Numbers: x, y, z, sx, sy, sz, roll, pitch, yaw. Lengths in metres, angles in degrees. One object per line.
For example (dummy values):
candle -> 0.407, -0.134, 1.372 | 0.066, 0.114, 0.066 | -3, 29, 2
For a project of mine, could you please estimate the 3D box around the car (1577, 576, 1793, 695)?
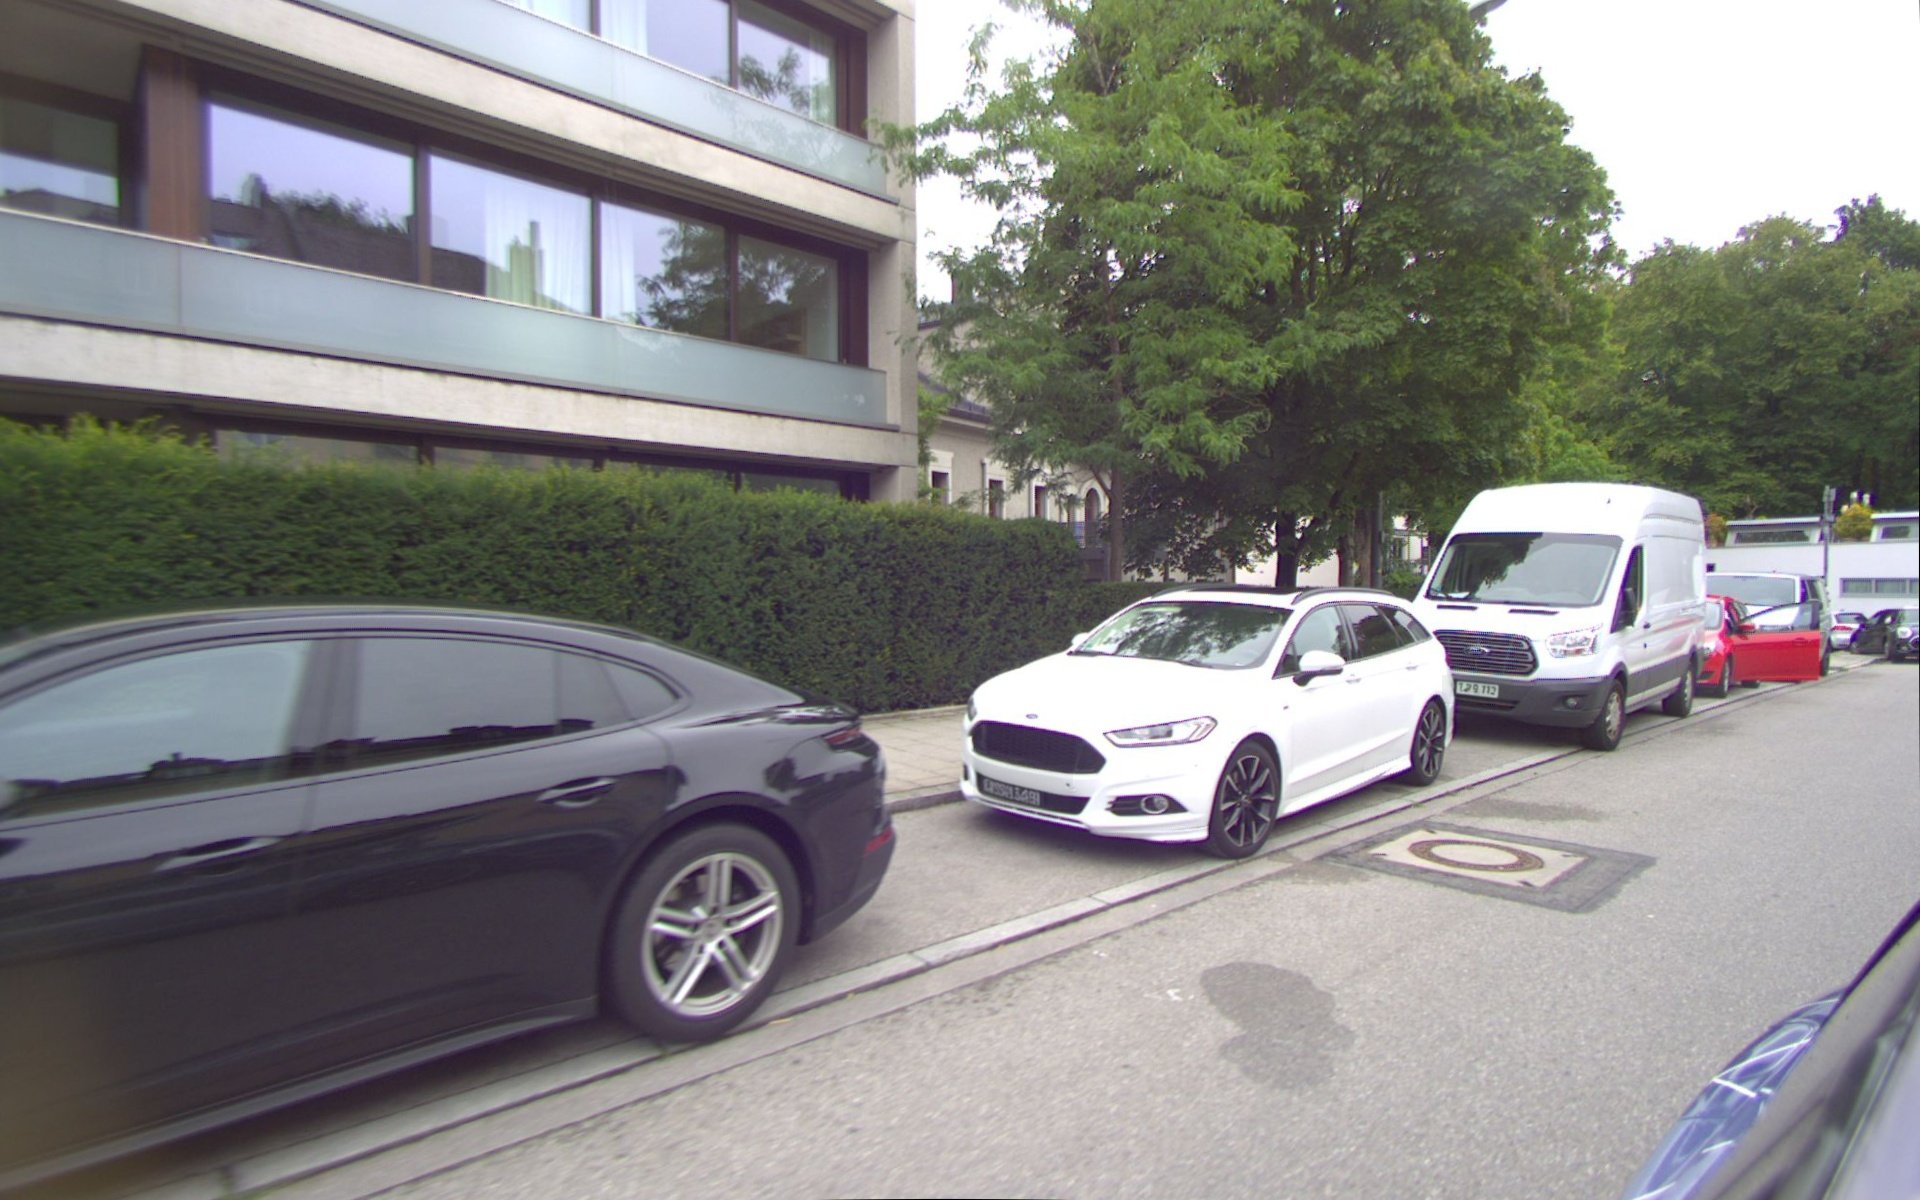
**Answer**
car -> 11.438, 0.461, 15.827 | 4.757, 1.525, 1.873 | 0, 3, -44

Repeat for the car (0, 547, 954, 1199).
car -> -2.351, 0.623, 3.020 | 5.119, 1.525, 1.283 | 0, 2, -43

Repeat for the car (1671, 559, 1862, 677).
car -> 15.358, 0.266, 19.160 | 4.984, 1.928, 1.938 | 0, 2, -42

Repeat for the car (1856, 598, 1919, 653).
car -> 27.294, 0.720, 28.652 | 1.879, 1.465, 3.975 | -2, -3, 27

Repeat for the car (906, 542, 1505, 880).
car -> 2.073, 0.497, 7.228 | 1.872, 1.589, 4.921 | 4, 2, 44

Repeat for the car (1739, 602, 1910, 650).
car -> 28.361, 0.861, 33.391 | 1.901, 1.465, 4.019 | 2, -2, -8

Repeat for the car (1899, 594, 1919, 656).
car -> 24.754, 0.597, 25.129 | 1.889, 1.465, 4.204 | -3, -3, 41

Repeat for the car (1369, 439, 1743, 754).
car -> 7.047, -0.071, 11.557 | 5.987, 2.720, 2.082 | 0, 2, -44
